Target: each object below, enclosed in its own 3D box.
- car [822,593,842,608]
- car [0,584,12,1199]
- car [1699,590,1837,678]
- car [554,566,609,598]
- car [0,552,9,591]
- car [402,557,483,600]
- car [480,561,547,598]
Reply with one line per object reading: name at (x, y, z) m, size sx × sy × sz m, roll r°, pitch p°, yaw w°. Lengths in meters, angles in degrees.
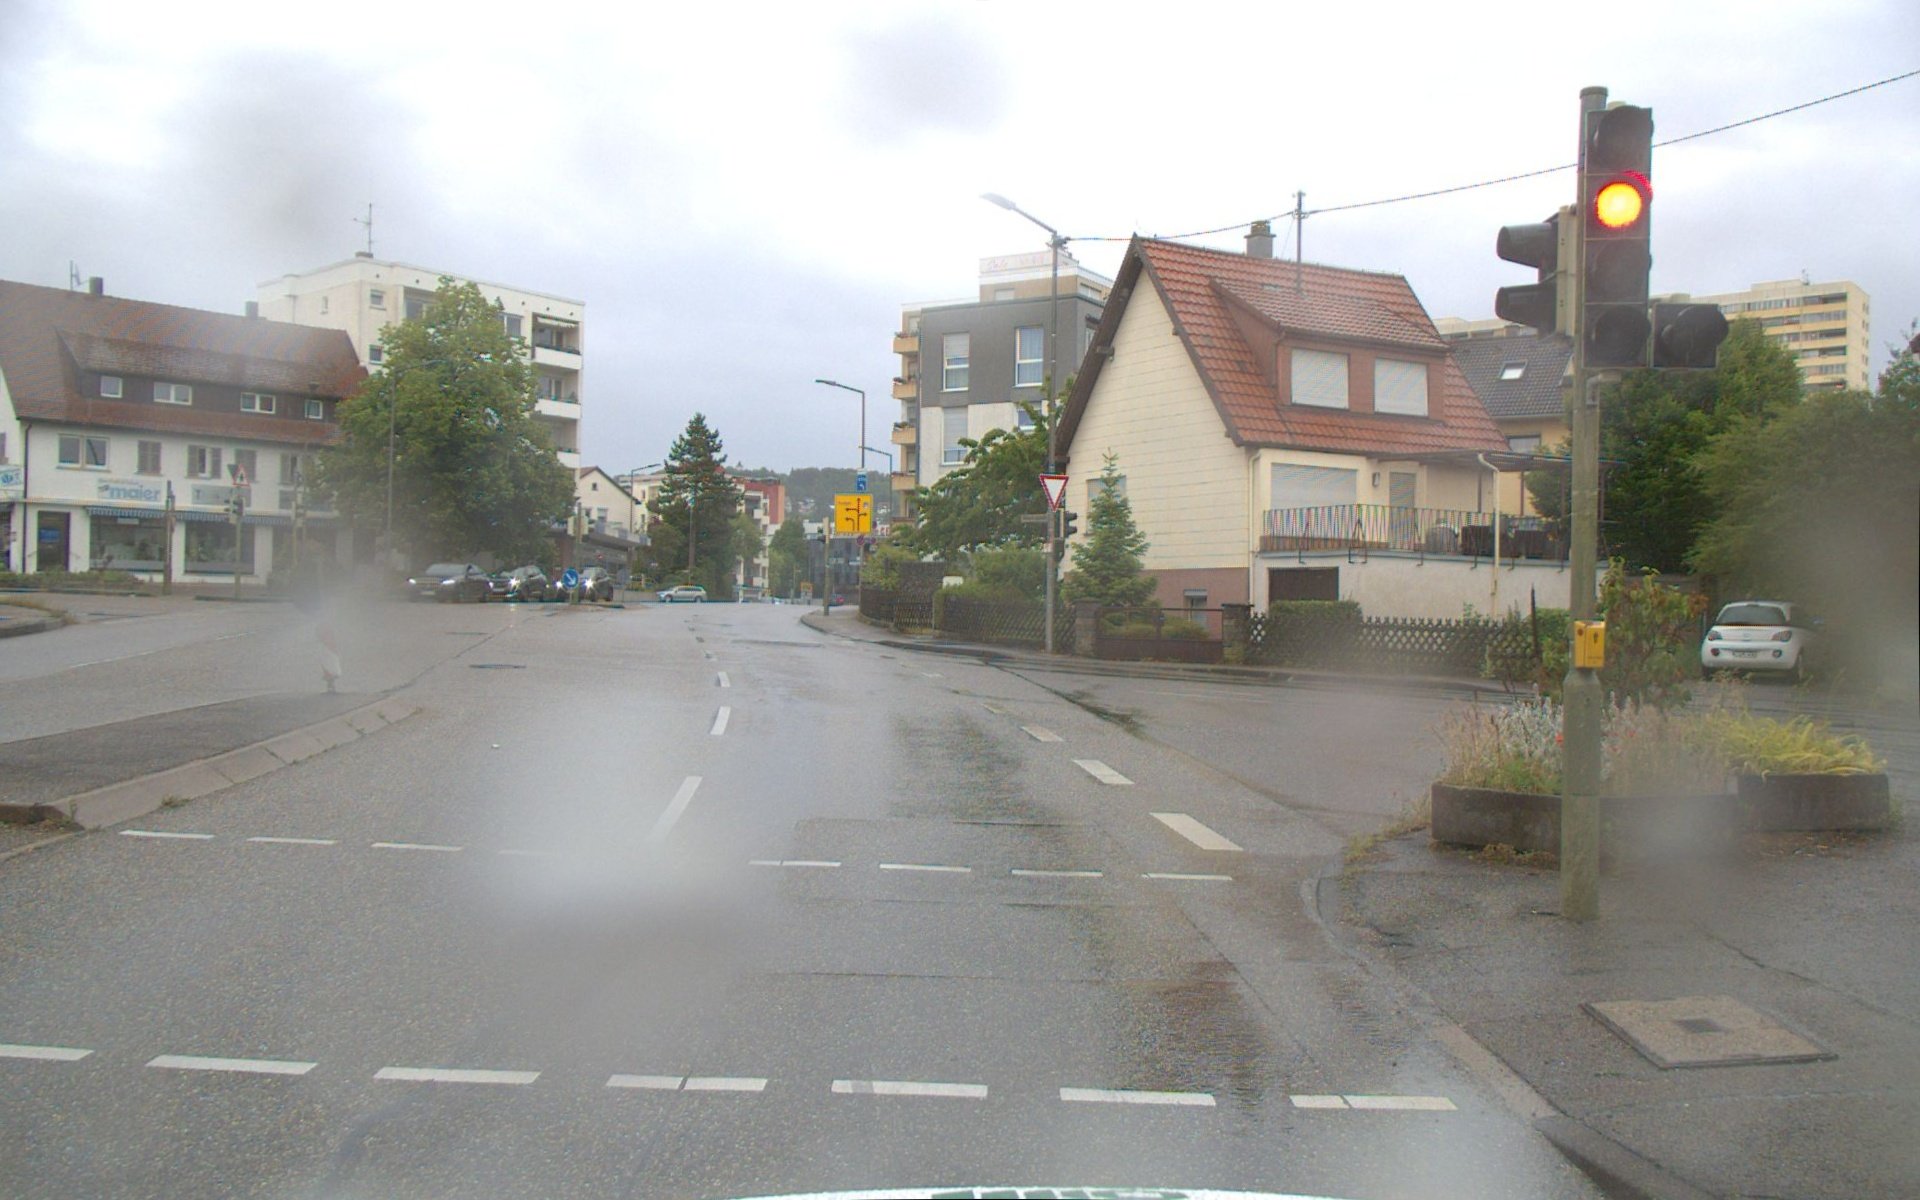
car at (-13.186, 0.038, 170.467) m, size 1.776 × 1.512 × 4.189 m, roll 0°, pitch 1°, yaw 0°
car at (-2.822, 0.692, 1.930) m, size 1.546 × 1.435 × 3.270 m, roll 1°, pitch 1°, yaw -1°
car at (15.433, 0.592, 31.488) m, size 1.710 × 1.541 × 3.985 m, roll 1°, pitch 1°, yaw 36°
car at (-17.560, -0.849, 76.860) m, size 1.742 × 1.445 × 3.830 m, roll 1°, pitch 1°, yaw -1°
car at (-40.873, -1.184, 66.824) m, size 1.842 × 1.599 × 3.938 m, roll 2°, pitch 1°, yaw 45°
car at (-18.537, -0.781, 59.400) m, size 1.742 × 1.445 × 3.830 m, roll 1°, pitch 1°, yaw -1°
car at (-17.978, -0.834, 66.735) m, size 1.680 × 1.411 × 4.020 m, roll 1°, pitch 1°, yaw -1°
